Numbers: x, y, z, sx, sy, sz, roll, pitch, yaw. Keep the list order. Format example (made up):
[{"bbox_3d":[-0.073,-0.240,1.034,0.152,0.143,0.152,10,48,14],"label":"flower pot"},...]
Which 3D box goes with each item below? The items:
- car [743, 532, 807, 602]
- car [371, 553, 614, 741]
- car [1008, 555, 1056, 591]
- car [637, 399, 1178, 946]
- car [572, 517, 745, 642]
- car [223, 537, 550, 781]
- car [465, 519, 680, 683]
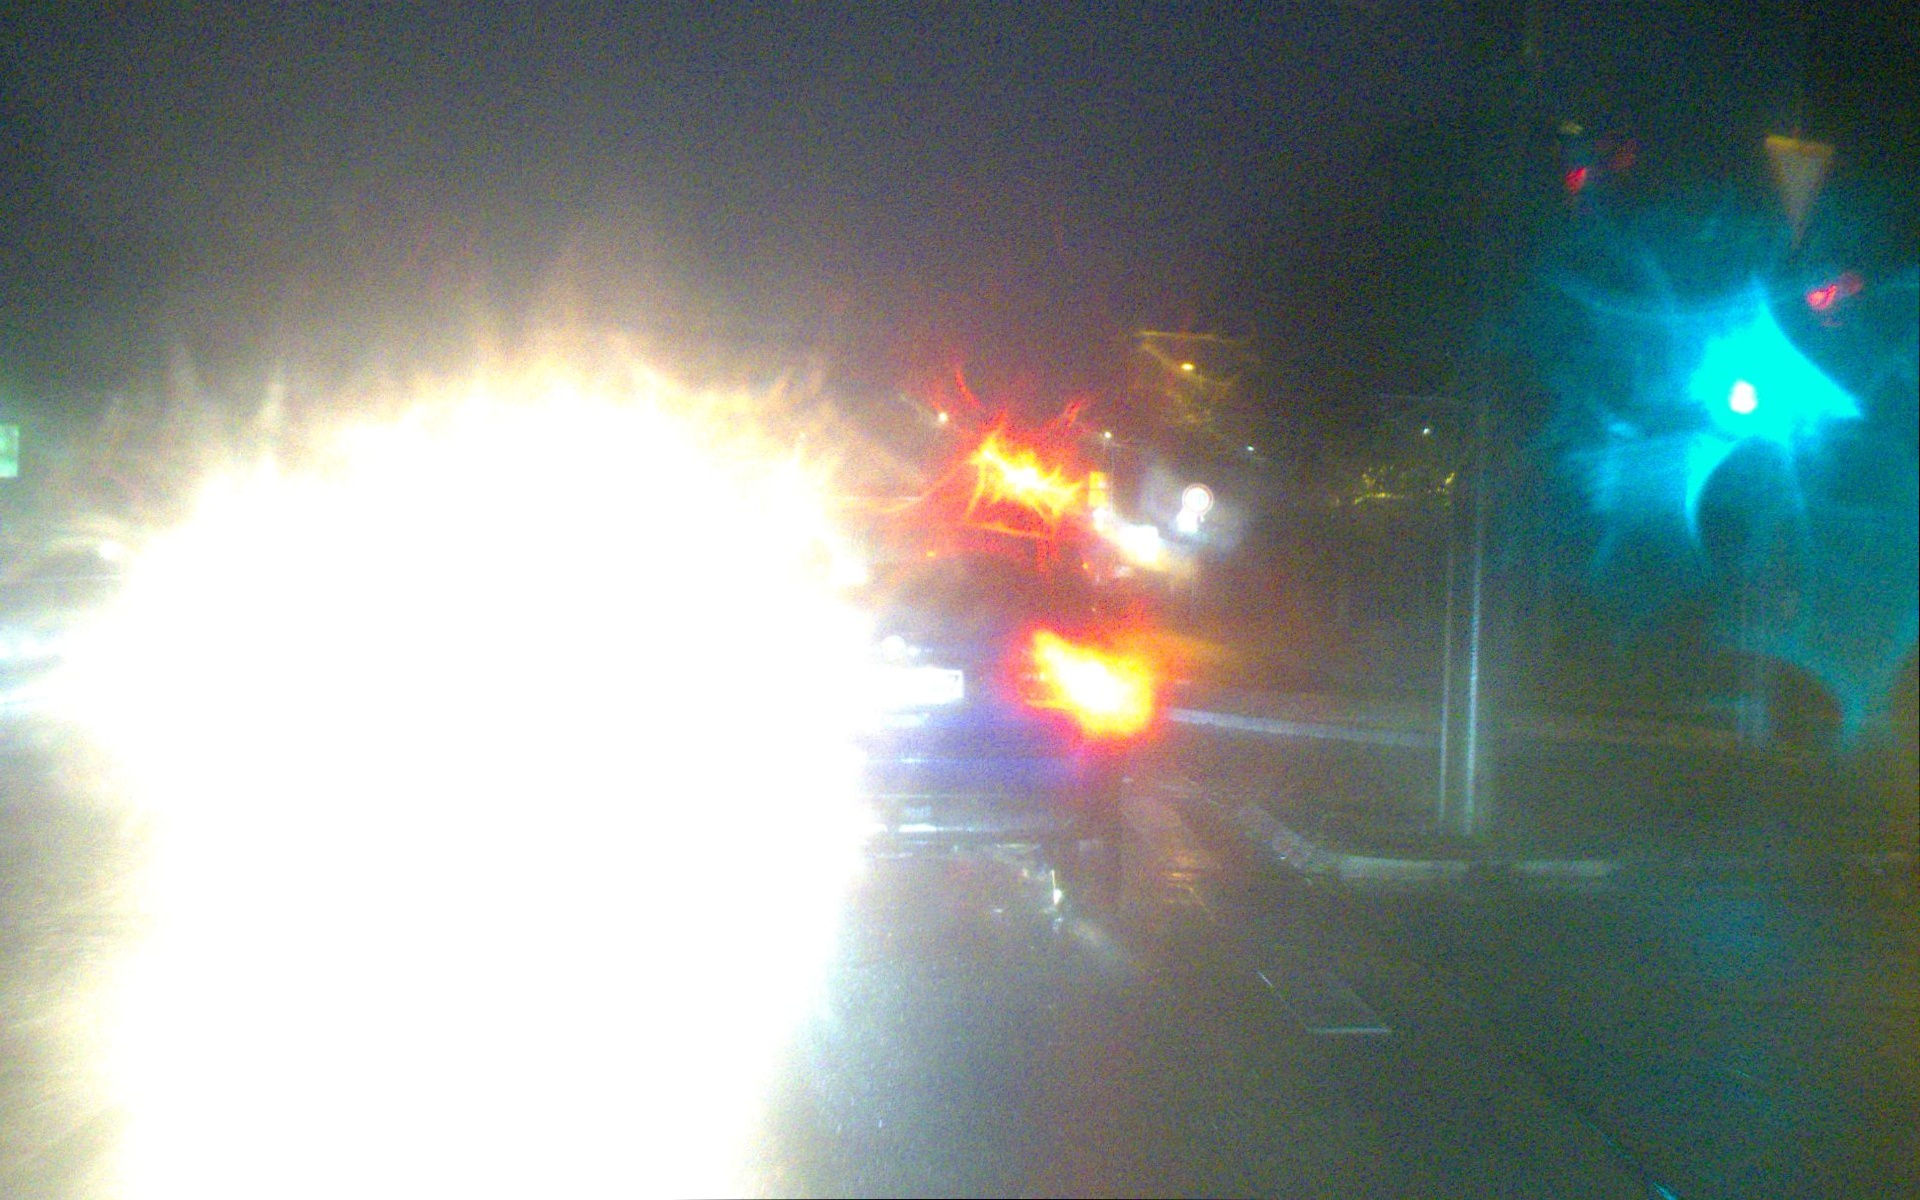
[{"bbox_3d":[-7.357,-1.316,137.234,2.122,2.698,6.240,1,1,1],"label":"car"},{"bbox_3d":[-3.891,0.347,29.112,1.622,1.468,3.885,1,1,-2],"label":"car"},{"bbox_3d":[3.070,-1.144,145.702,1.663,1.445,4.049,0,0,6],"label":"car"},{"bbox_3d":[-0.236,0.239,14.616,1.942,1.965,4.218,1,1,-1],"label":"car"},{"bbox_3d":[-3.979,-0.291,46.021,1.844,1.569,4.597,1,1,1],"label":"car"},{"bbox_3d":[-3.703,0.334,22.720,1.669,1.468,3.634,1,1,-2],"label":"car"},{"bbox_3d":[-4.149,-0.021,37.400,1.844,1.663,4.445,1,1,0],"label":"car"}]
